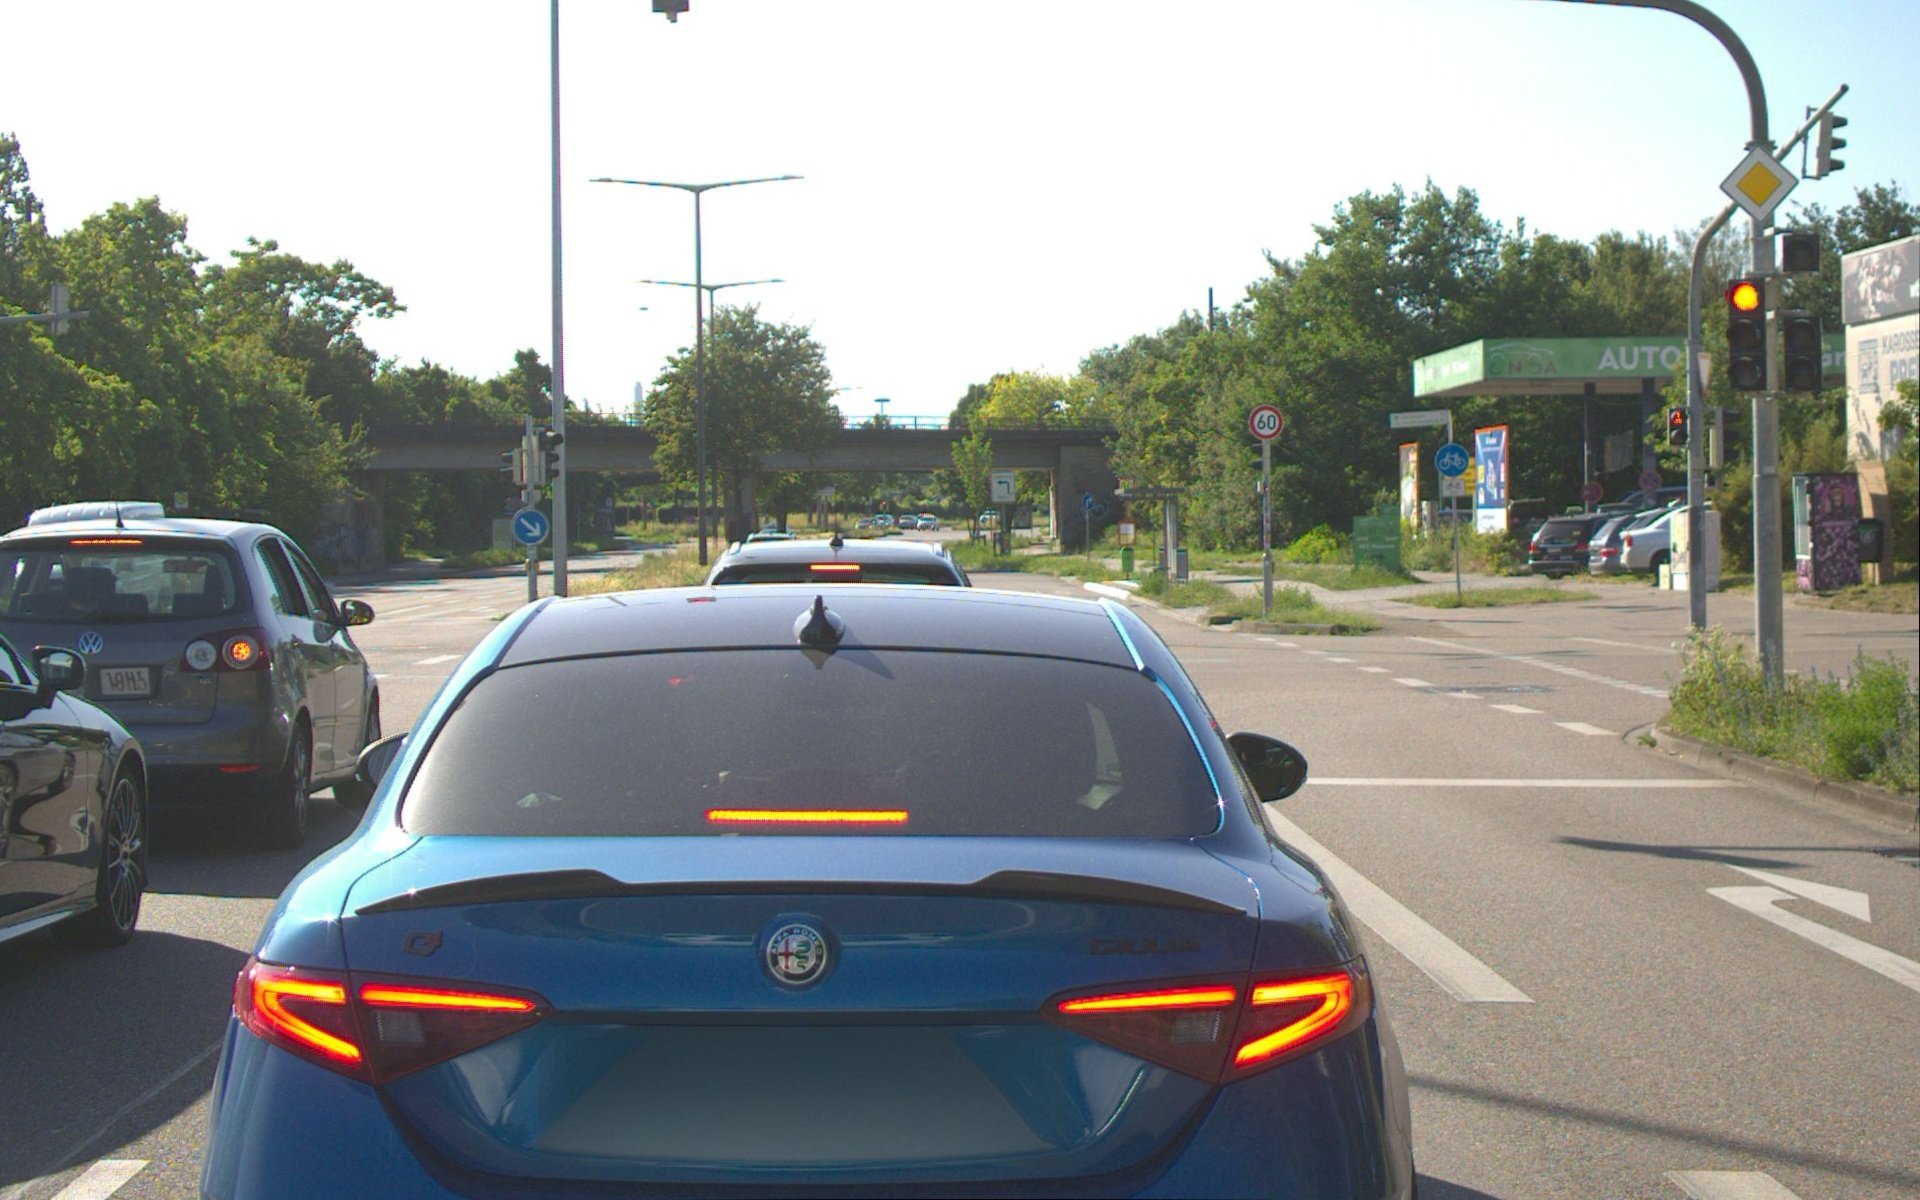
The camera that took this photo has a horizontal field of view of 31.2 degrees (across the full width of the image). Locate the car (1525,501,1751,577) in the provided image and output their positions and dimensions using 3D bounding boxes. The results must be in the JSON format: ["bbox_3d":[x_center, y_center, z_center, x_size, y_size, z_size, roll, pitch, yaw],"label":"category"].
[{"bbox_3d":[14.596,-1.314,74.169,4.489,1.449,1.858,-2,1,1],"label":"car"}]

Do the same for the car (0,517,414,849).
[{"bbox_3d":[-3.995,0.349,17.733,1.759,1.485,4.403,1,1,-2],"label":"car"}]

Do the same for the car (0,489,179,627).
[{"bbox_3d":[-16.859,-0.818,66.741,2.022,2.439,5.822,-4,1,-1],"label":"car"}]

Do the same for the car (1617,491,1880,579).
[{"bbox_3d":[14.775,-1.211,64.586,4.489,1.449,1.858,-2,1,1],"label":"car"}]

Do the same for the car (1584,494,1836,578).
[{"bbox_3d":[14.659,-1.249,67.365,4.489,1.449,1.858,-2,1,1],"label":"car"}]

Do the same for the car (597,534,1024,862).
[{"bbox_3d":[-0.719,0.408,17.257,1.850,1.413,4.403,1,1,-2],"label":"car"}]

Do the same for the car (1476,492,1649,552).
[{"bbox_3d":[17.044,-2.197,97.332,4.551,1.485,1.765,-2,1,1],"label":"car"}]

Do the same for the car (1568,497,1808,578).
[{"bbox_3d":[14.815,-1.266,70.119,4.489,1.449,1.858,-2,1,1],"label":"car"}]

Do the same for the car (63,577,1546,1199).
[{"bbox_3d":[-0.263,0.684,6.623,1.895,1.413,4.403,1,1,-2],"label":"car"}]

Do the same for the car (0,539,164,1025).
[{"bbox_3d":[-3.830,0.543,10.634,1.796,1.485,4.476,1,1,-2],"label":"car"}]

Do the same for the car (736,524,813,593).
[{"bbox_3d":[-5.027,-1.133,93.714,1.891,1.809,4.000,1,1,-1],"label":"car"}]
